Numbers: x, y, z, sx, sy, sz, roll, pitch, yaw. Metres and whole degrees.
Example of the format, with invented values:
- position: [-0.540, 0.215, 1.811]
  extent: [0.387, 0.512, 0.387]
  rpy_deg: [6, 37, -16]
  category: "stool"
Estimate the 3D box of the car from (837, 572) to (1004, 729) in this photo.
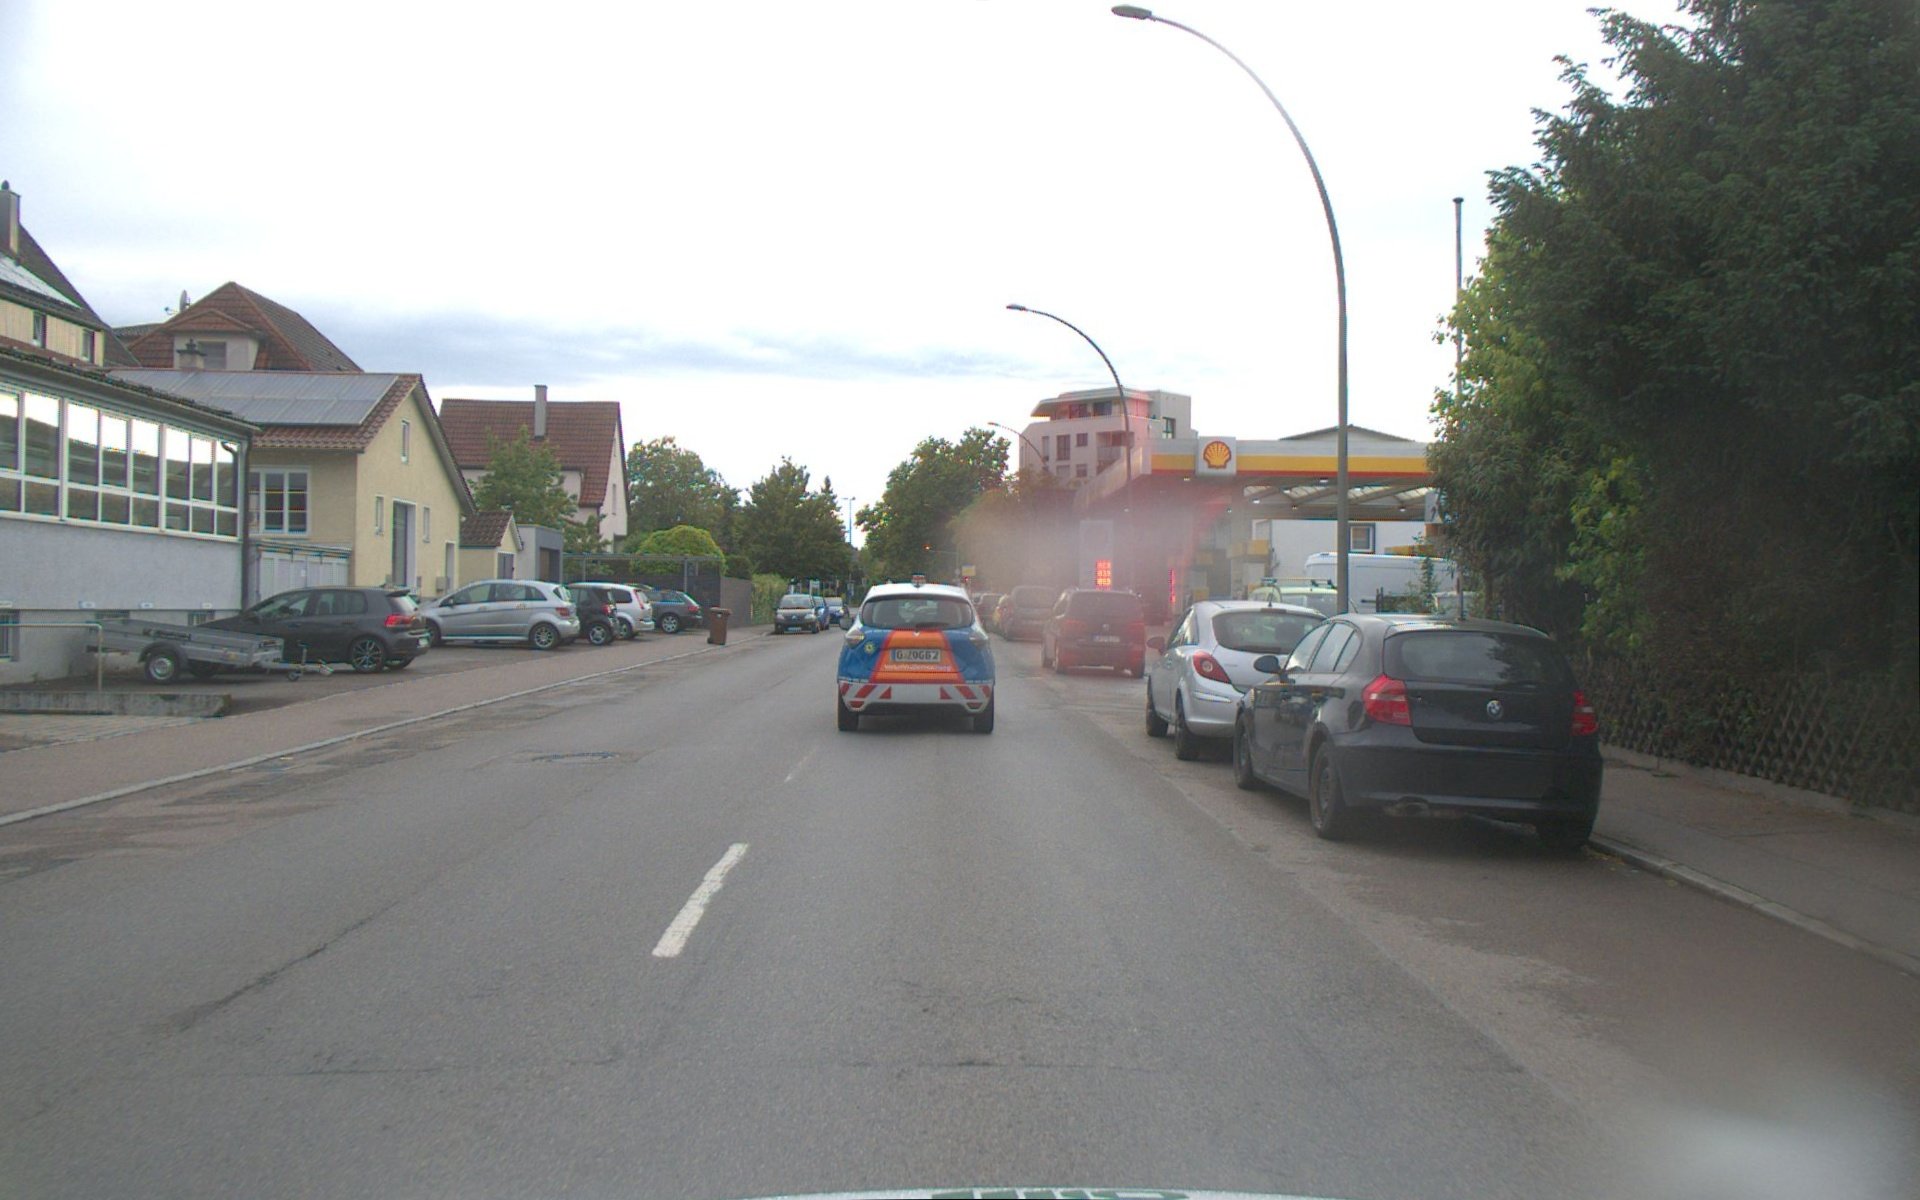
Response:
- position: [-0.437, 0.492, 18.940]
  extent: [1.710, 1.608, 3.999]
  rpy_deg: [0, 1, -1]
  category: "car"

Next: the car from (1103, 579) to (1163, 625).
- position: [6.981, 0.075, 67.123]
  extent: [1.783, 1.790, 3.997]
  rpy_deg: [0, 0, -3]
  category: "car"

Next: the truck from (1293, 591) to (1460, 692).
- position: [6.878, 0.668, 27.466]
  extent: [2.501, 1.556, 1.327]
  rpy_deg: [2, 0, 7]
  category: "truck"

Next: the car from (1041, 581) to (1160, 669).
- position: [2.698, 0.433, 32.700]
  extent: [1.953, 1.624, 3.999]
  rpy_deg: [0, 1, -1]
  category: "car"

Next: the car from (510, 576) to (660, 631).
- position: [-10.757, 0.087, 47.710]
  extent: [4.006, 1.540, 1.881]
  rpy_deg: [0, 0, -7]
  category: "car"

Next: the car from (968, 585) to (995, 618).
- position: [1.490, 0.082, 113.527]
  extent: [1.741, 2.064, 4.755]
  rpy_deg: [2, 1, 2]
  category: "car"

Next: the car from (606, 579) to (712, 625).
- position: [-10.650, 0.059, 58.718]
  extent: [3.516, 1.482, 1.755]
  rpy_deg: [2, 0, -6]
  category: "car"

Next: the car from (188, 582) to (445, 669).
- position: [-11.160, 0.429, 28.871]
  extent: [3.795, 1.463, 1.767]
  rpy_deg: [0, 1, -2]
  category: "car"

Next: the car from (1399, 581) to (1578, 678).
- position: [9.352, 0.471, 29.583]
  extent: [1.713, 1.546, 3.728]
  rpy_deg: [-3, 1, -5]
  category: "car"

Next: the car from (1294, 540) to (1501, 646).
- position: [11.099, -0.171, 41.986]
  extent: [4.723, 2.564, 2.232]
  rpy_deg: [0, 0, -23]
  category: "car"

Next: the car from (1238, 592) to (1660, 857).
- position: [3.127, 0.708, 11.365]
  extent: [1.702, 1.427, 3.718]
  rpy_deg: [2, 1, -1]
  category: "car"

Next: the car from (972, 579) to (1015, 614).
- position: [1.718, -0.214, 86.372]
  extent: [2.048, 1.691, 4.558]
  rpy_deg: [2, 1, -1]
  category: "car"

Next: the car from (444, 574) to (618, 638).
- position: [-10.804, 0.149, 41.868]
  extent: [4.004, 1.559, 1.812]
  rpy_deg: [0, 0, -5]
  category: "car"

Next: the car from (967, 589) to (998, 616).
- position: [1.431, 0.162, 107.527]
  extent: [1.828, 1.694, 4.319]
  rpy_deg: [1, 0, -1]
  category: "car"

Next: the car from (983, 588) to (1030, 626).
- position: [1.799, 0.250, 64.446]
  extent: [1.622, 1.426, 3.800]
  rpy_deg: [1, 0, -1]
  category: "car"

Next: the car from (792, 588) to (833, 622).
- position: [-6.461, 0.216, 72.829]
  extent: [1.514, 1.427, 3.596]
  rpy_deg: [-1, 0, -1]
  category: "car"

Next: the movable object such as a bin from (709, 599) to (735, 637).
- position: [-7.177, 0.541, 49.880]
  extent: [0.584, 1.075, 0.687]
  rpy_deg: [5, 2, -1]
  category: "movable object such as a bin"

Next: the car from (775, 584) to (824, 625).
- position: [-6.235, 0.157, 64.698]
  extent: [1.576, 1.532, 3.706]
  rpy_deg: [-1, 0, -1]
  category: "car"

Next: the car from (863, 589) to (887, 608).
- position: [-6.656, -0.147, 129.493]
  extent: [1.593, 1.458, 3.684]
  rpy_deg: [0, 0, 1]
  category: "car"

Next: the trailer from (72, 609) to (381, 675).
- position: [-11.573, 0.647, 26.312]
  extent: [4.113, 0.959, 1.793]
  rpy_deg: [1, 1, -4]
  category: "trailer"

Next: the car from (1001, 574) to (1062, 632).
- position: [2.322, 0.085, 54.622]
  extent: [1.623, 1.768, 4.443]
  rpy_deg: [3, 0, -1]
  category: "car"

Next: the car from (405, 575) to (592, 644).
- position: [-10.967, 0.215, 39.567]
  extent: [4.006, 1.559, 1.997]
  rpy_deg: [0, 1, -7]
  category: "car"

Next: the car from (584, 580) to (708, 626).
- position: [-10.536, 0.097, 55.802]
  extent: [4.008, 1.438, 1.711]
  rpy_deg: [1, 0, -9]
  category: "car"

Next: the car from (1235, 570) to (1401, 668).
- position: [6.677, 0.319, 31.270]
  extent: [1.955, 1.712, 3.996]
  rpy_deg: [0, 1, -5]
  category: "car"

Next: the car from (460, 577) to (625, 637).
- position: [-11.006, 0.185, 43.802]
  extent: [4.006, 1.529, 1.754]
  rpy_deg: [0, 0, -7]
  category: "car"

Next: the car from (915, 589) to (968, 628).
- position: [-0.818, 0.369, 75.478]
  extent: [1.951, 1.601, 4.003]
  rpy_deg: [2, 1, 6]
  category: "car"

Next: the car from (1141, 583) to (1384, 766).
- position: [2.877, 0.636, 16.493]
  extent: [1.702, 1.528, 3.882]
  rpy_deg: [2, 1, 1]
  category: "car"

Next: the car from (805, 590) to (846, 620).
- position: [-6.721, 0.245, 83.027]
  extent: [1.770, 1.427, 3.944]
  rpy_deg: [-1, 0, -1]
  category: "car"
